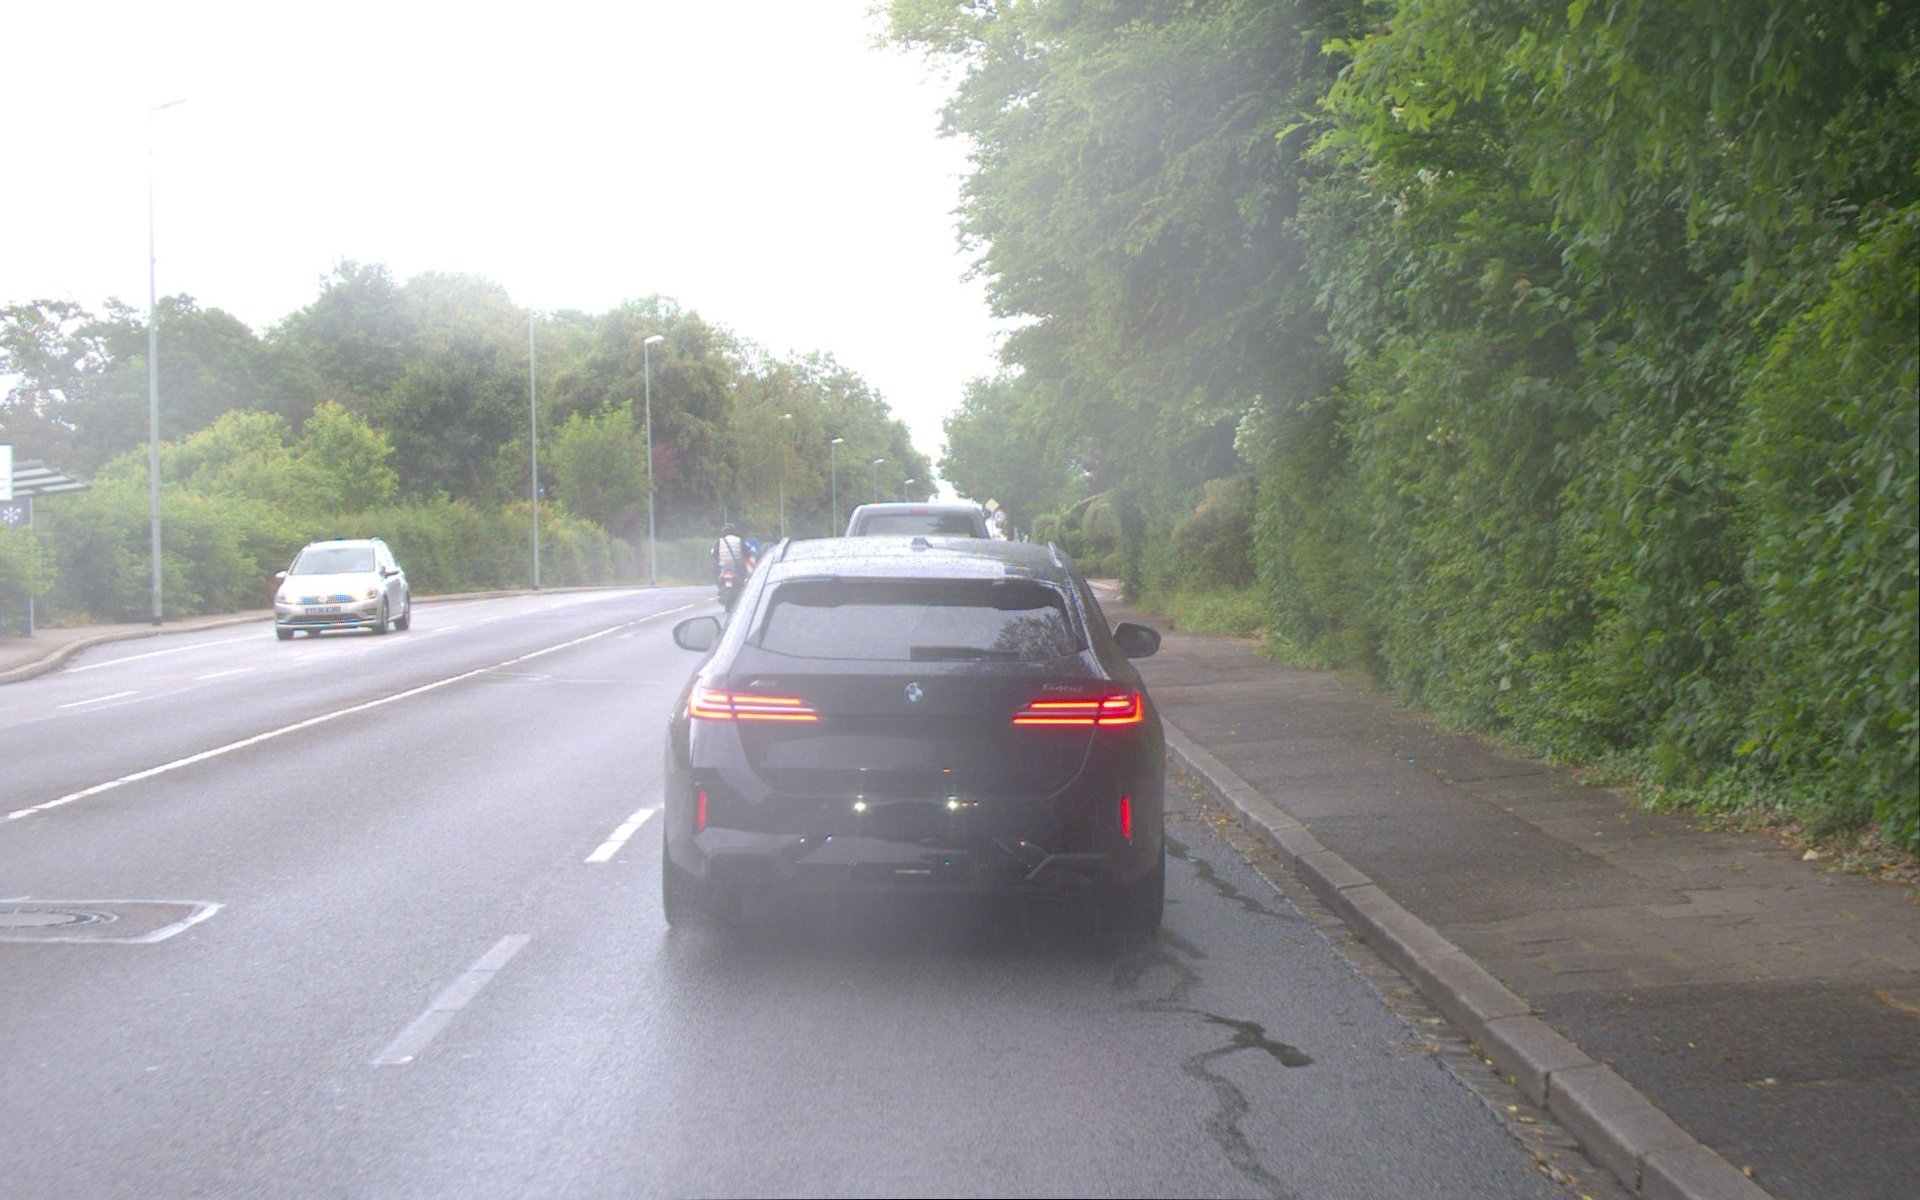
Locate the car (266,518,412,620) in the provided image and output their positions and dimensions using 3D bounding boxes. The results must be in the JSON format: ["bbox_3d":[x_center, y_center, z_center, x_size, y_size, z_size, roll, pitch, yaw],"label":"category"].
[{"bbox_3d":[-10.225,-0.545,56.825,1.756,1.563,4.001,-2,1,-2],"label":"car"}]

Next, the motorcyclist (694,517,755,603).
[{"bbox_3d":[-4.379,-0.743,63.953,1.039,1.562,0.855,1,0,0],"label":"motorcyclist"}]

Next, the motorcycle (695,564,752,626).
[{"bbox_3d":[-4.393,-0.103,64.031,0.876,1.120,2.741,1,1,0],"label":"motorcycle"}]

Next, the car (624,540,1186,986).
[{"bbox_3d":[-0.166,0.525,13.820,1.897,1.484,4.000,1,1,1],"label":"car"}]

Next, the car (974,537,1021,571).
[{"bbox_3d":[1.690,-2.062,152.689,1.935,1.437,4.408,-1,1,2],"label":"car"}]

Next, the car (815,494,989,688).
[{"bbox_3d":[-0.572,-0.137,35.177,1.629,1.827,4.000,-1,1,0],"label":"car"}]
